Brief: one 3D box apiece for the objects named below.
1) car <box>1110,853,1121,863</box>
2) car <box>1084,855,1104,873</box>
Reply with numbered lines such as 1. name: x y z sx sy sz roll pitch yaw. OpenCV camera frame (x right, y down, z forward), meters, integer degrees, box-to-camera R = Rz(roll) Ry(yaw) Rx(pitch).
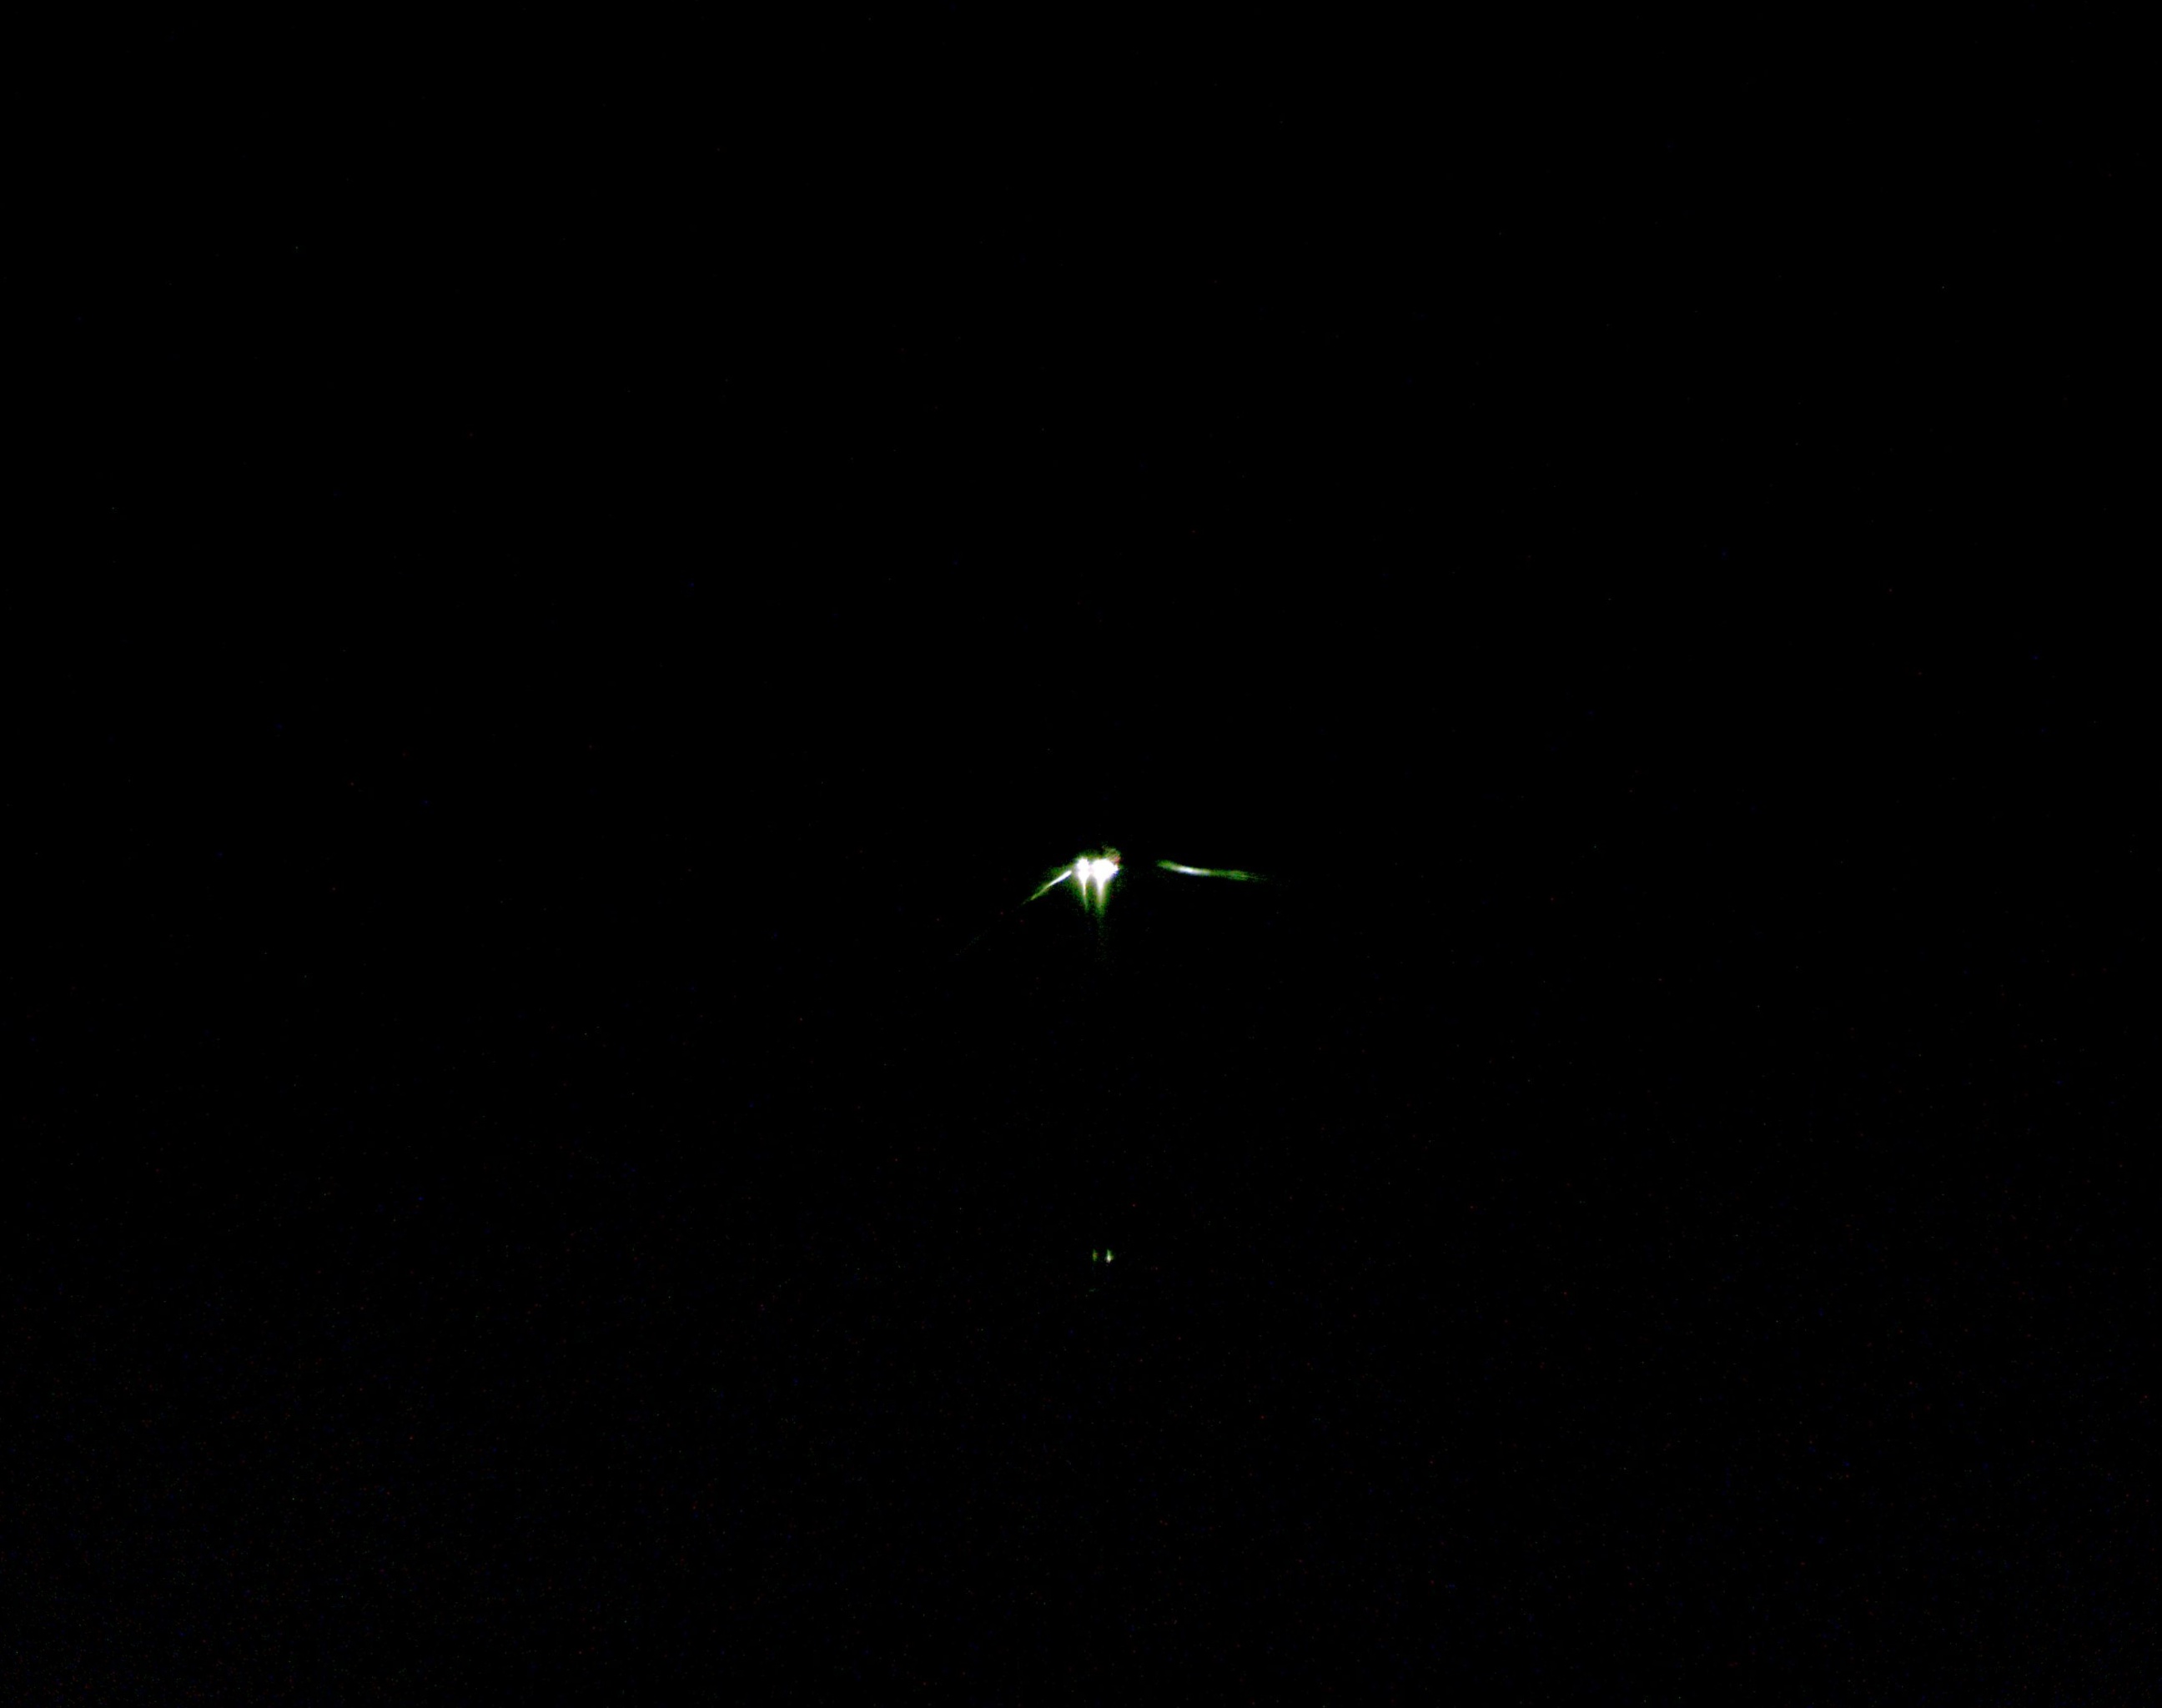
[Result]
1. car: 5.912 0.662 130.328 1.819 1.724 4.000 -2 1 1
2. car: 1.419 1.026 81.698 1.998 1.724 4.000 -2 1 1
